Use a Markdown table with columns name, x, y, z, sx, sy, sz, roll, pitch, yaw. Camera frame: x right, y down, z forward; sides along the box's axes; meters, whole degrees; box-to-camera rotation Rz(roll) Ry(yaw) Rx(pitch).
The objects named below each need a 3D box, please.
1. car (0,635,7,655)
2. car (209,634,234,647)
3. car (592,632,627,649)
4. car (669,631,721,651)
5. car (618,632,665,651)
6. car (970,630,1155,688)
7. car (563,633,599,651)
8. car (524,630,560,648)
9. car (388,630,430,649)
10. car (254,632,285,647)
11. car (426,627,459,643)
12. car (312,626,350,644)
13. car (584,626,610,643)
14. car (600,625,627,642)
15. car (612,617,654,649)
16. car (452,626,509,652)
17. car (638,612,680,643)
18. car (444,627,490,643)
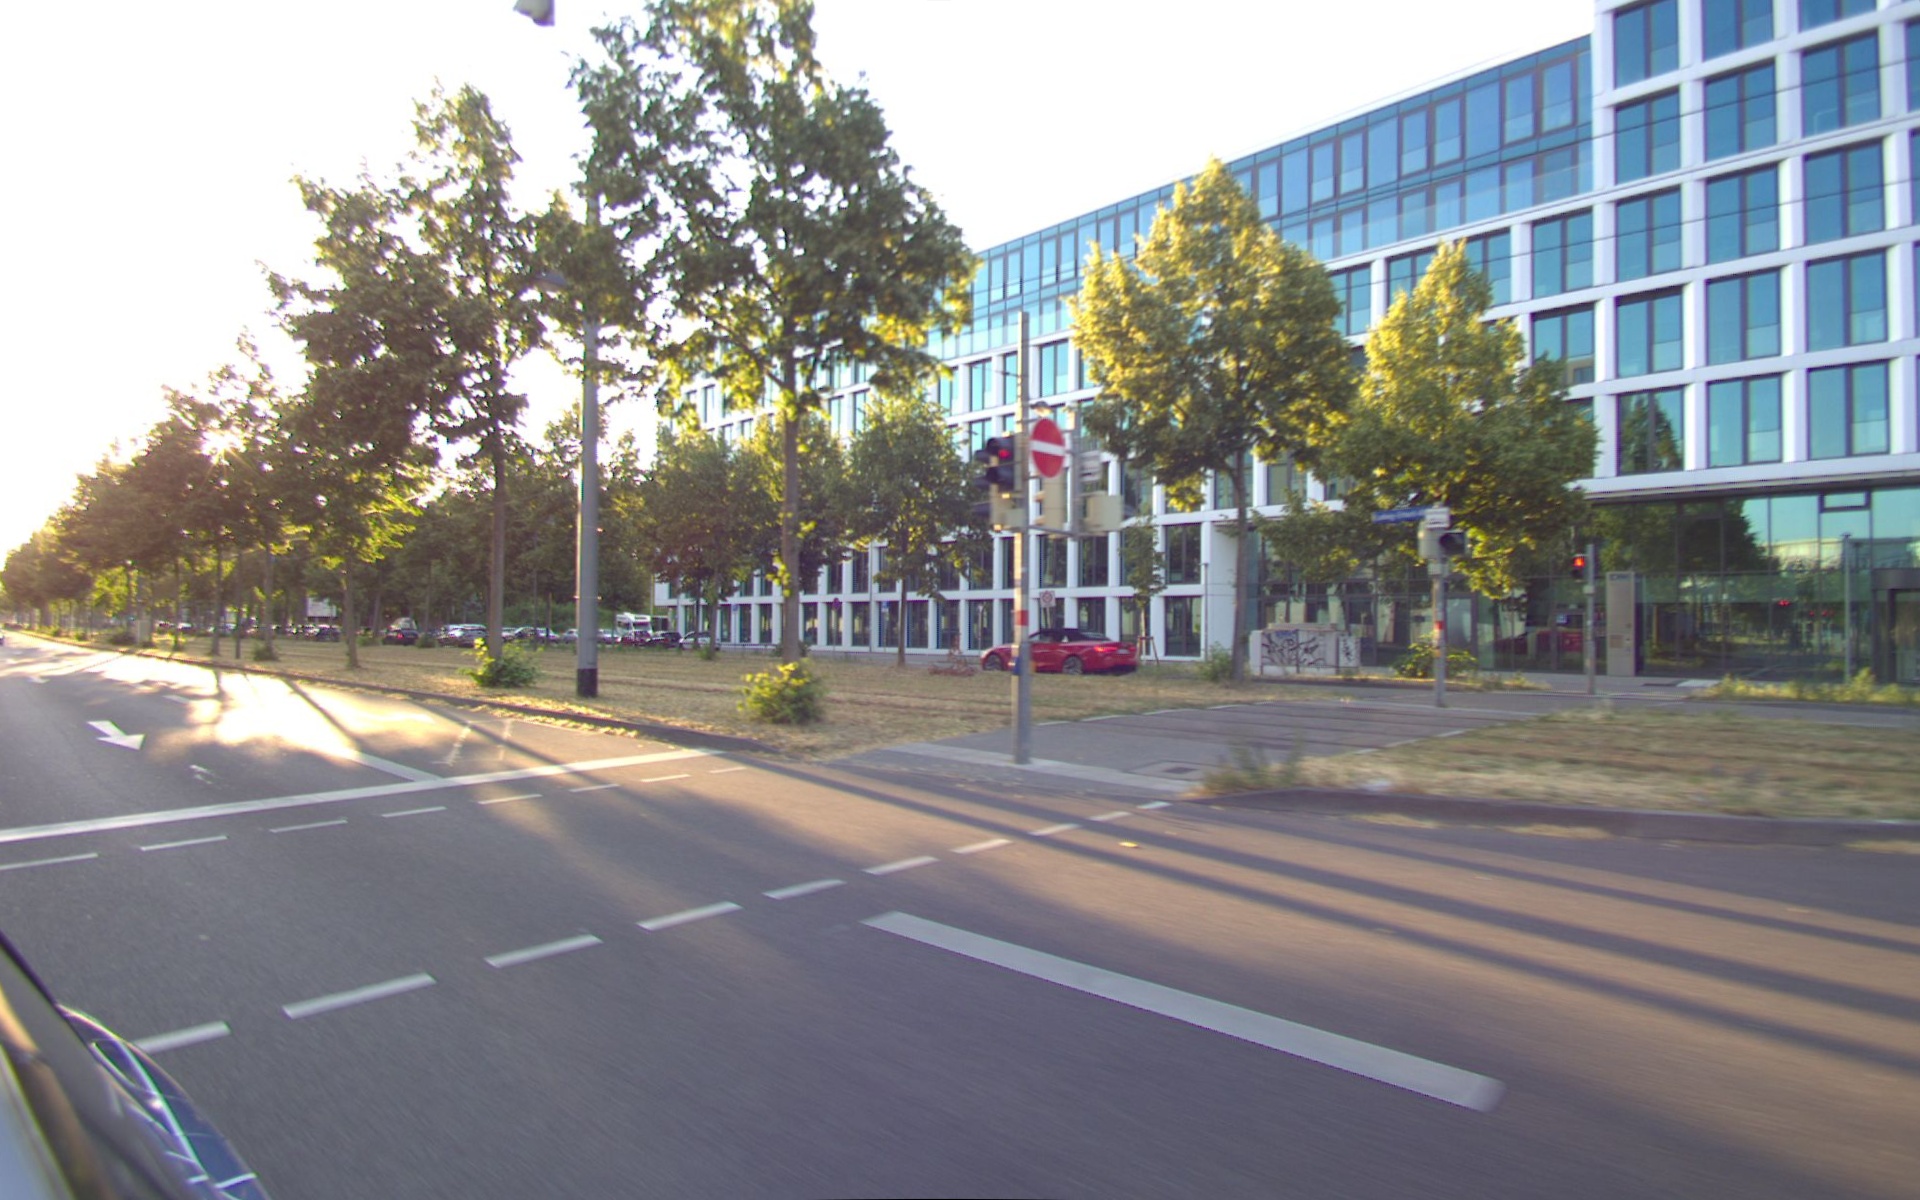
| name | x | y | z | sx | sy | sz | roll | pitch | yaw |
| --- | --- | --- | --- | --- | --- | --- | --- | --- | --- |
| car | -75.411 | 3.469 | 78.523 | 4.337 | 1.494 | 1.971 | -2 | -2 | 44 |
| car | -83.344 | 4.603 | 114.225 | 4.000 | 1.414 | 1.627 | -2 | -2 | 43 |
| car | -33.627 | 3.847 | 97.002 | 1.968 | 1.604 | 4.007 | 1 | -2 | -39 |
| car | -18.808 | 2.889 | 71.869 | 4.000 | 1.414 | 1.739 | -2 | -2 | 43 |
| car | -24.433 | 3.193 | 77.619 | 4.000 | 1.414 | 1.739 | -2 | -2 | 43 |
| car | 2.722 | 1.553 | 27.808 | 4.900 | 1.445 | 1.971 | -2 | -2 | 44 |
| car | -35.746 | 3.942 | 95.368 | 1.968 | 1.604 | 4.007 | 1 | -2 | -39 |
| car | -39.694 | 3.684 | 96.090 | 1.968 | 1.604 | 4.343 | 1 | -2 | -39 |
| car | -41.429 | 2.928 | 76.075 | 4.000 | 1.414 | 1.627 | -2 | -2 | 43 |
| car | -67.061 | 3.836 | 98.238 | 4.000 | 1.414 | 1.627 | -2 | -2 | 43 |
| car | -57.674 | 3.898 | 112.766 | 4.613 | 1.754 | 1.971 | -2 | -2 | 45 |
| car | -50.311 | 2.757 | 80.892 | 4.000 | 1.414 | 1.627 | -2 | -2 | 43 |
| car | -38.911 | 3.709 | 108.463 | 1.821 | 1.826 | 4.011 | 1 | -2 | -32 |
| car | -37.436 | 3.640 | 109.334 | 1.821 | 1.826 | 4.011 | 1 | -2 | -32 |
| car | -32.134 | 3.210 | 99.371 | 2.131 | 3.014 | 5.733 | 1 | -2 | -37 |
| car | -27.444 | 2.220 | 57.878 | 4.000 | 1.414 | 1.627 | -2 | -2 | 43 |
| car | -30.233 | 2.767 | 101.421 | 2.131 | 3.014 | 5.733 | 1 | -2 | -37 |
| car | -53.882 | 3.810 | 110.593 | 2.000 | 1.754 | 4.028 | -2 | -2 | 42 |
